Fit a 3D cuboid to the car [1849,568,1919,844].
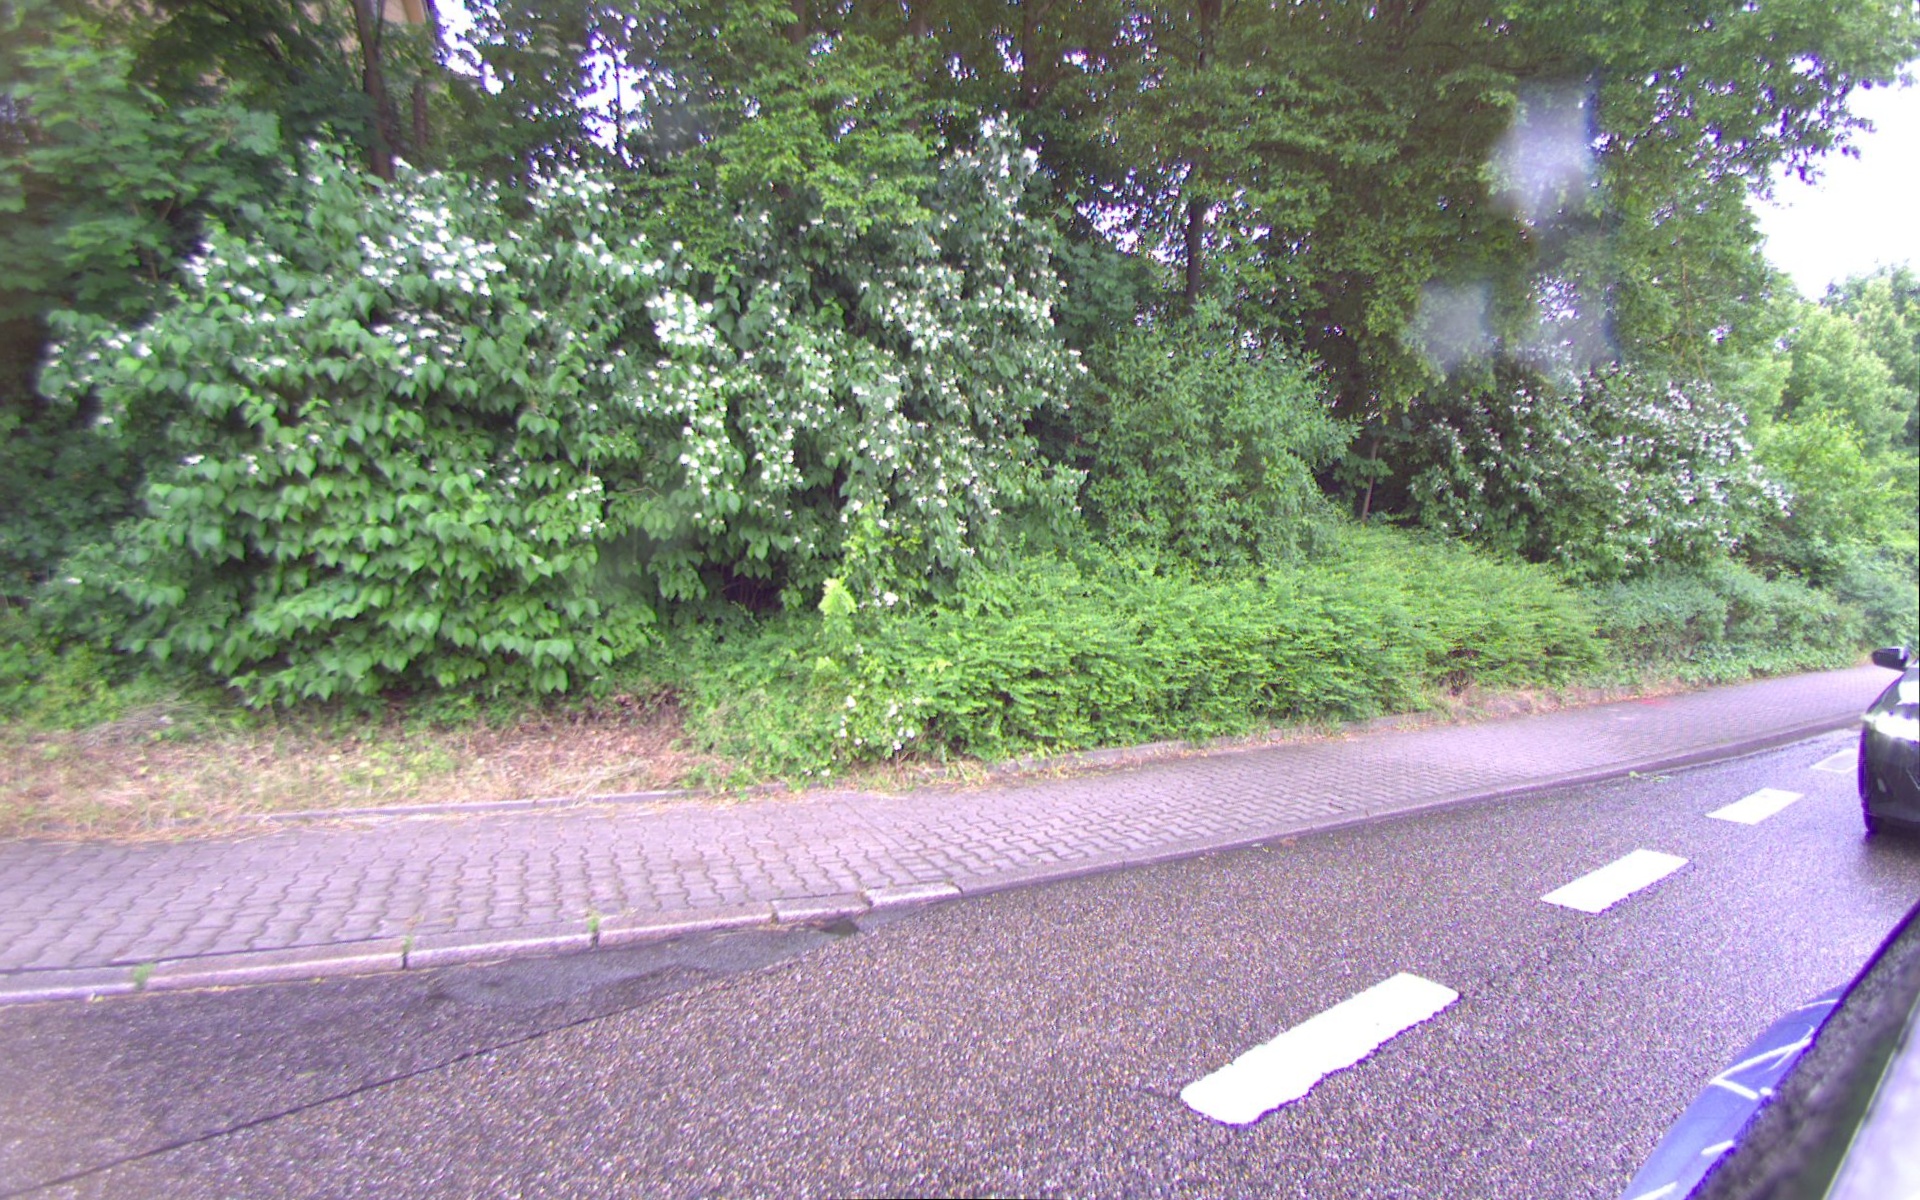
[{"bbox_3d":[7.380,0.613,6.338,4.120,1.524,1.874,-1,4,-37],"label":"car"}]
